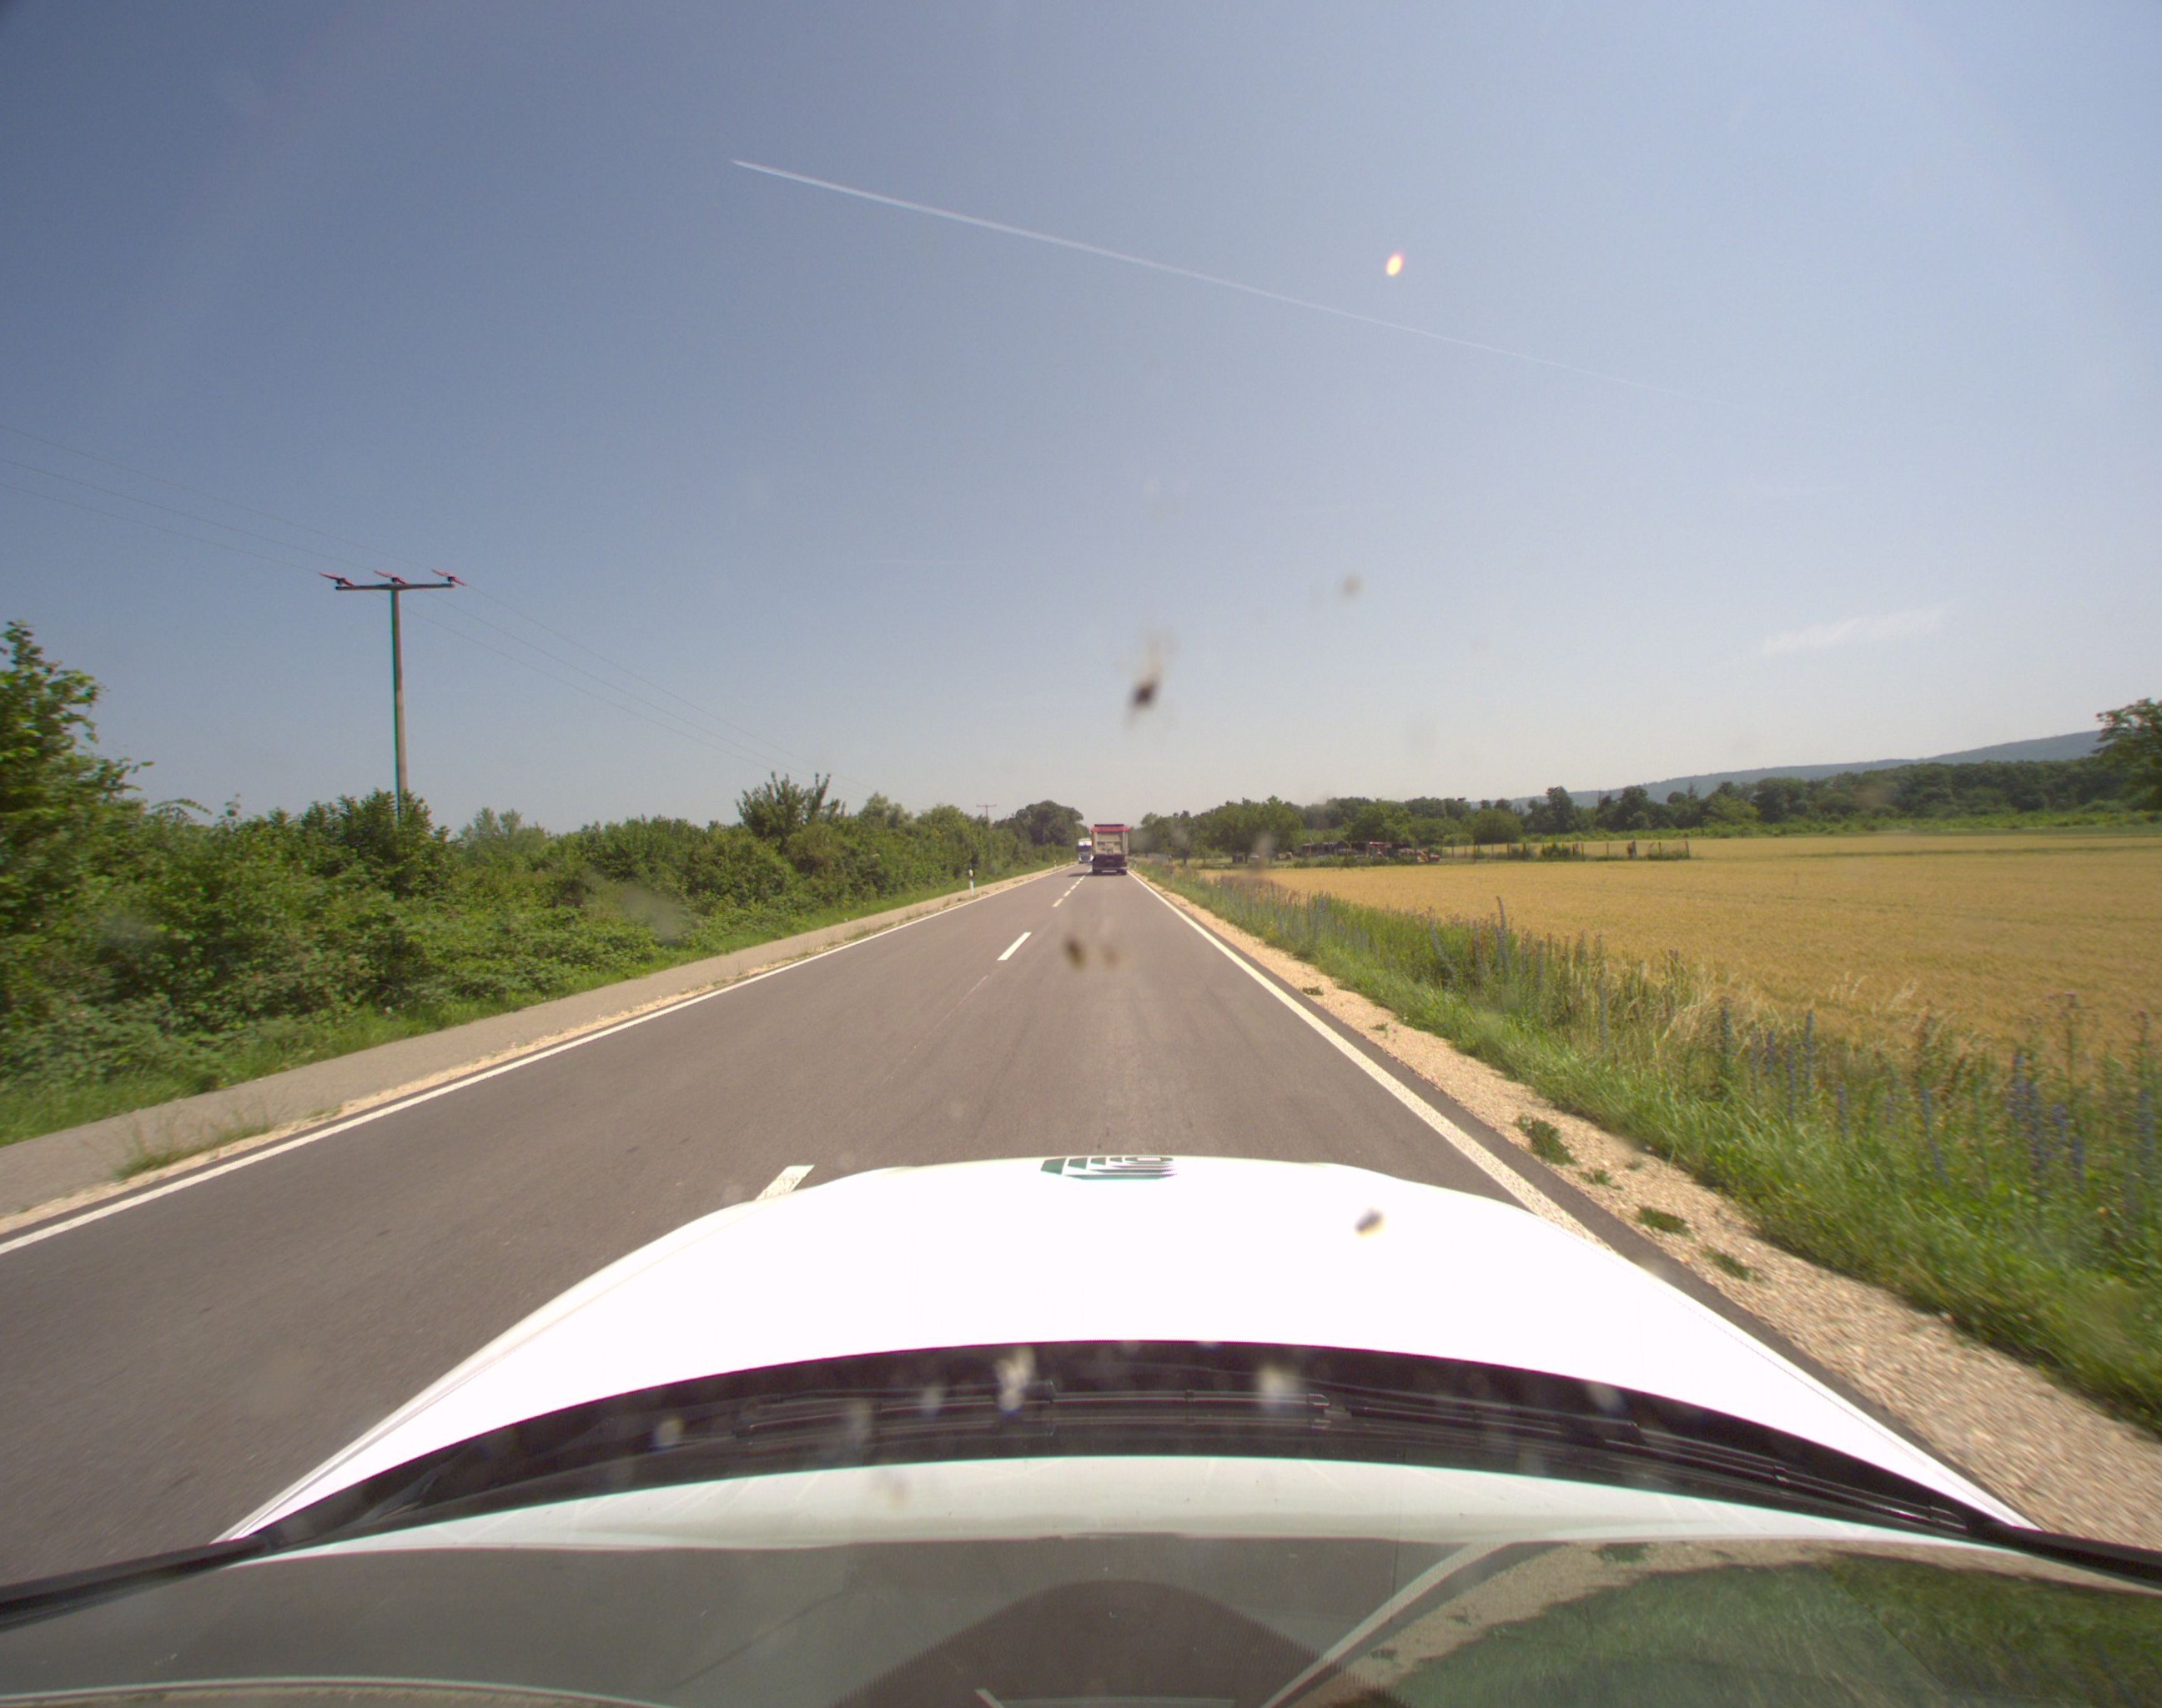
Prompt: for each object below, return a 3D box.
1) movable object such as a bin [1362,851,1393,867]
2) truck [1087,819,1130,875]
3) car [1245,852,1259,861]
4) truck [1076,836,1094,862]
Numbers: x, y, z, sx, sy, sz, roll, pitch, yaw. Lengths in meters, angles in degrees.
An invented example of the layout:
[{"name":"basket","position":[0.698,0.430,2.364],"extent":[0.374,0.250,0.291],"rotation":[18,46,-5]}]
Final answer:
[{"name":"movable object such as a bin","position":[29.485,0.475,81.174],"extent":[1.567,1.496,3.655],"rotation":[-1,0,-3]},{"name":"truck","position":[2.071,-0.446,62.124],"extent":[2.998,3.874,12.213],"rotation":[0,0,2]},{"name":"car","position":[32.046,0.449,152.348],"extent":[1.591,1.486,3.420],"rotation":[-2,1,-6]},{"name":"truck","position":[0.814,-0.791,142.839],"extent":[2.707,4.266,7.392],"rotation":[-3,0,2]}]
